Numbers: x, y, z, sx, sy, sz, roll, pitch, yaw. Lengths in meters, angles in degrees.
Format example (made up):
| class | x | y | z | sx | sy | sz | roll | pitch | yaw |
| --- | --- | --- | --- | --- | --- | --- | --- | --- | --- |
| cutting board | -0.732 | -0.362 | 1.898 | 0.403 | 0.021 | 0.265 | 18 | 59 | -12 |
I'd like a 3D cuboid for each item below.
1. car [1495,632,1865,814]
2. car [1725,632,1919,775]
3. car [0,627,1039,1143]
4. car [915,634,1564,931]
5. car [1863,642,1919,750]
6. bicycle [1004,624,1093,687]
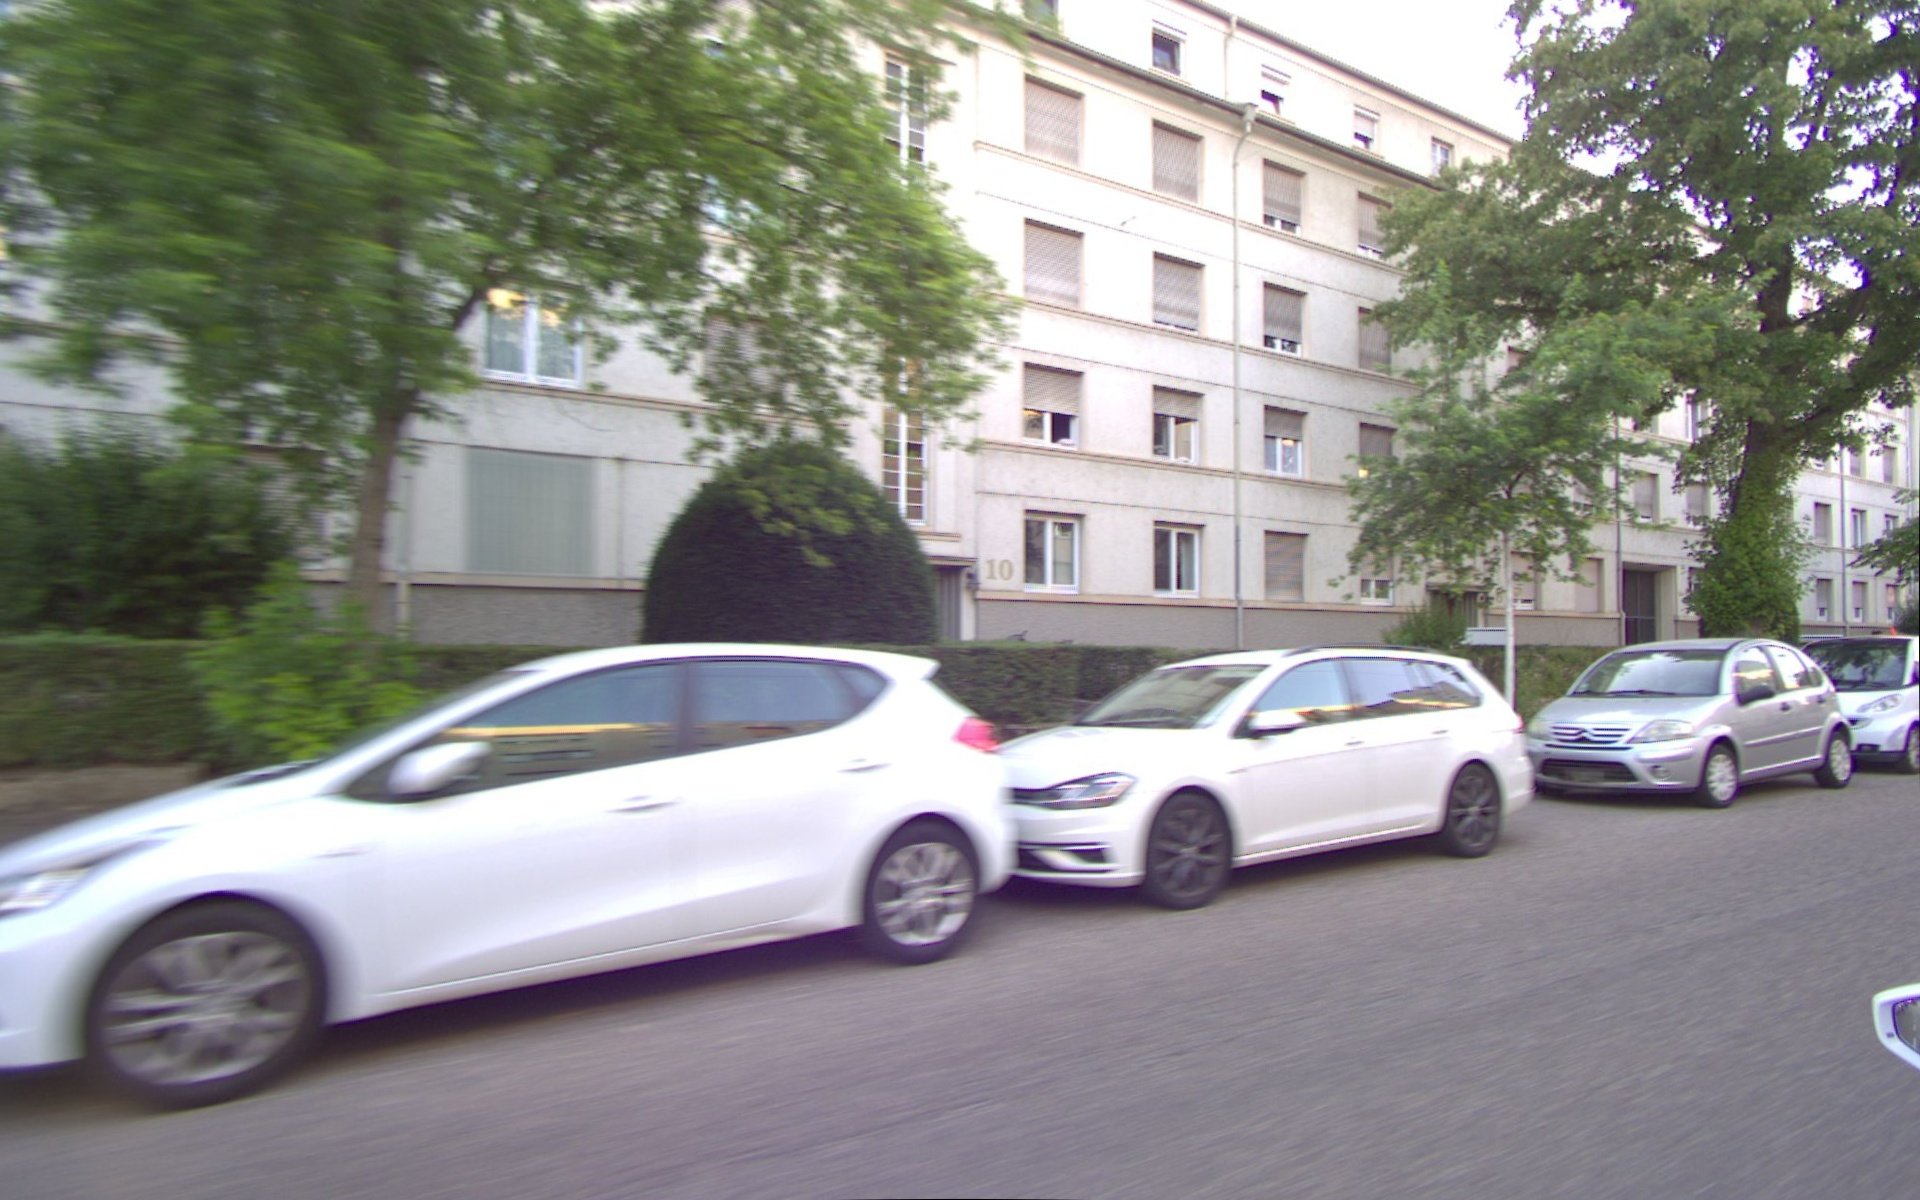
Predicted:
| class | x | y | z | sx | sy | sz | roll | pitch | yaw |
| --- | --- | --- | --- | --- | --- | --- | --- | --- | --- |
| car | 7.279 | 1.145 | 10.103 | 3.755 | 1.524 | 1.583 | 2 | -6 | -31 |
| car | 11.098 | 1.222 | 12.331 | 2.885 | 1.548 | 1.585 | 1 | -5 | -28 |
| car | -1.799 | 0.937 | 4.538 | 4.099 | 1.478 | 1.684 | 2 | -6 | -32 |
| car | 2.041 | 1.040 | 6.920 | 4.431 | 1.478 | 1.685 | 2 | -6 | -31 |
| car | 15.048 | 1.355 | 14.713 | 4.057 | 1.485 | 1.582 | 2 | -6 | -32 |
| bicycle | 1.823 | 1.130 | 20.562 | 1.794 | 1.246 | 0.554 | 1 | -2 | -28 |
